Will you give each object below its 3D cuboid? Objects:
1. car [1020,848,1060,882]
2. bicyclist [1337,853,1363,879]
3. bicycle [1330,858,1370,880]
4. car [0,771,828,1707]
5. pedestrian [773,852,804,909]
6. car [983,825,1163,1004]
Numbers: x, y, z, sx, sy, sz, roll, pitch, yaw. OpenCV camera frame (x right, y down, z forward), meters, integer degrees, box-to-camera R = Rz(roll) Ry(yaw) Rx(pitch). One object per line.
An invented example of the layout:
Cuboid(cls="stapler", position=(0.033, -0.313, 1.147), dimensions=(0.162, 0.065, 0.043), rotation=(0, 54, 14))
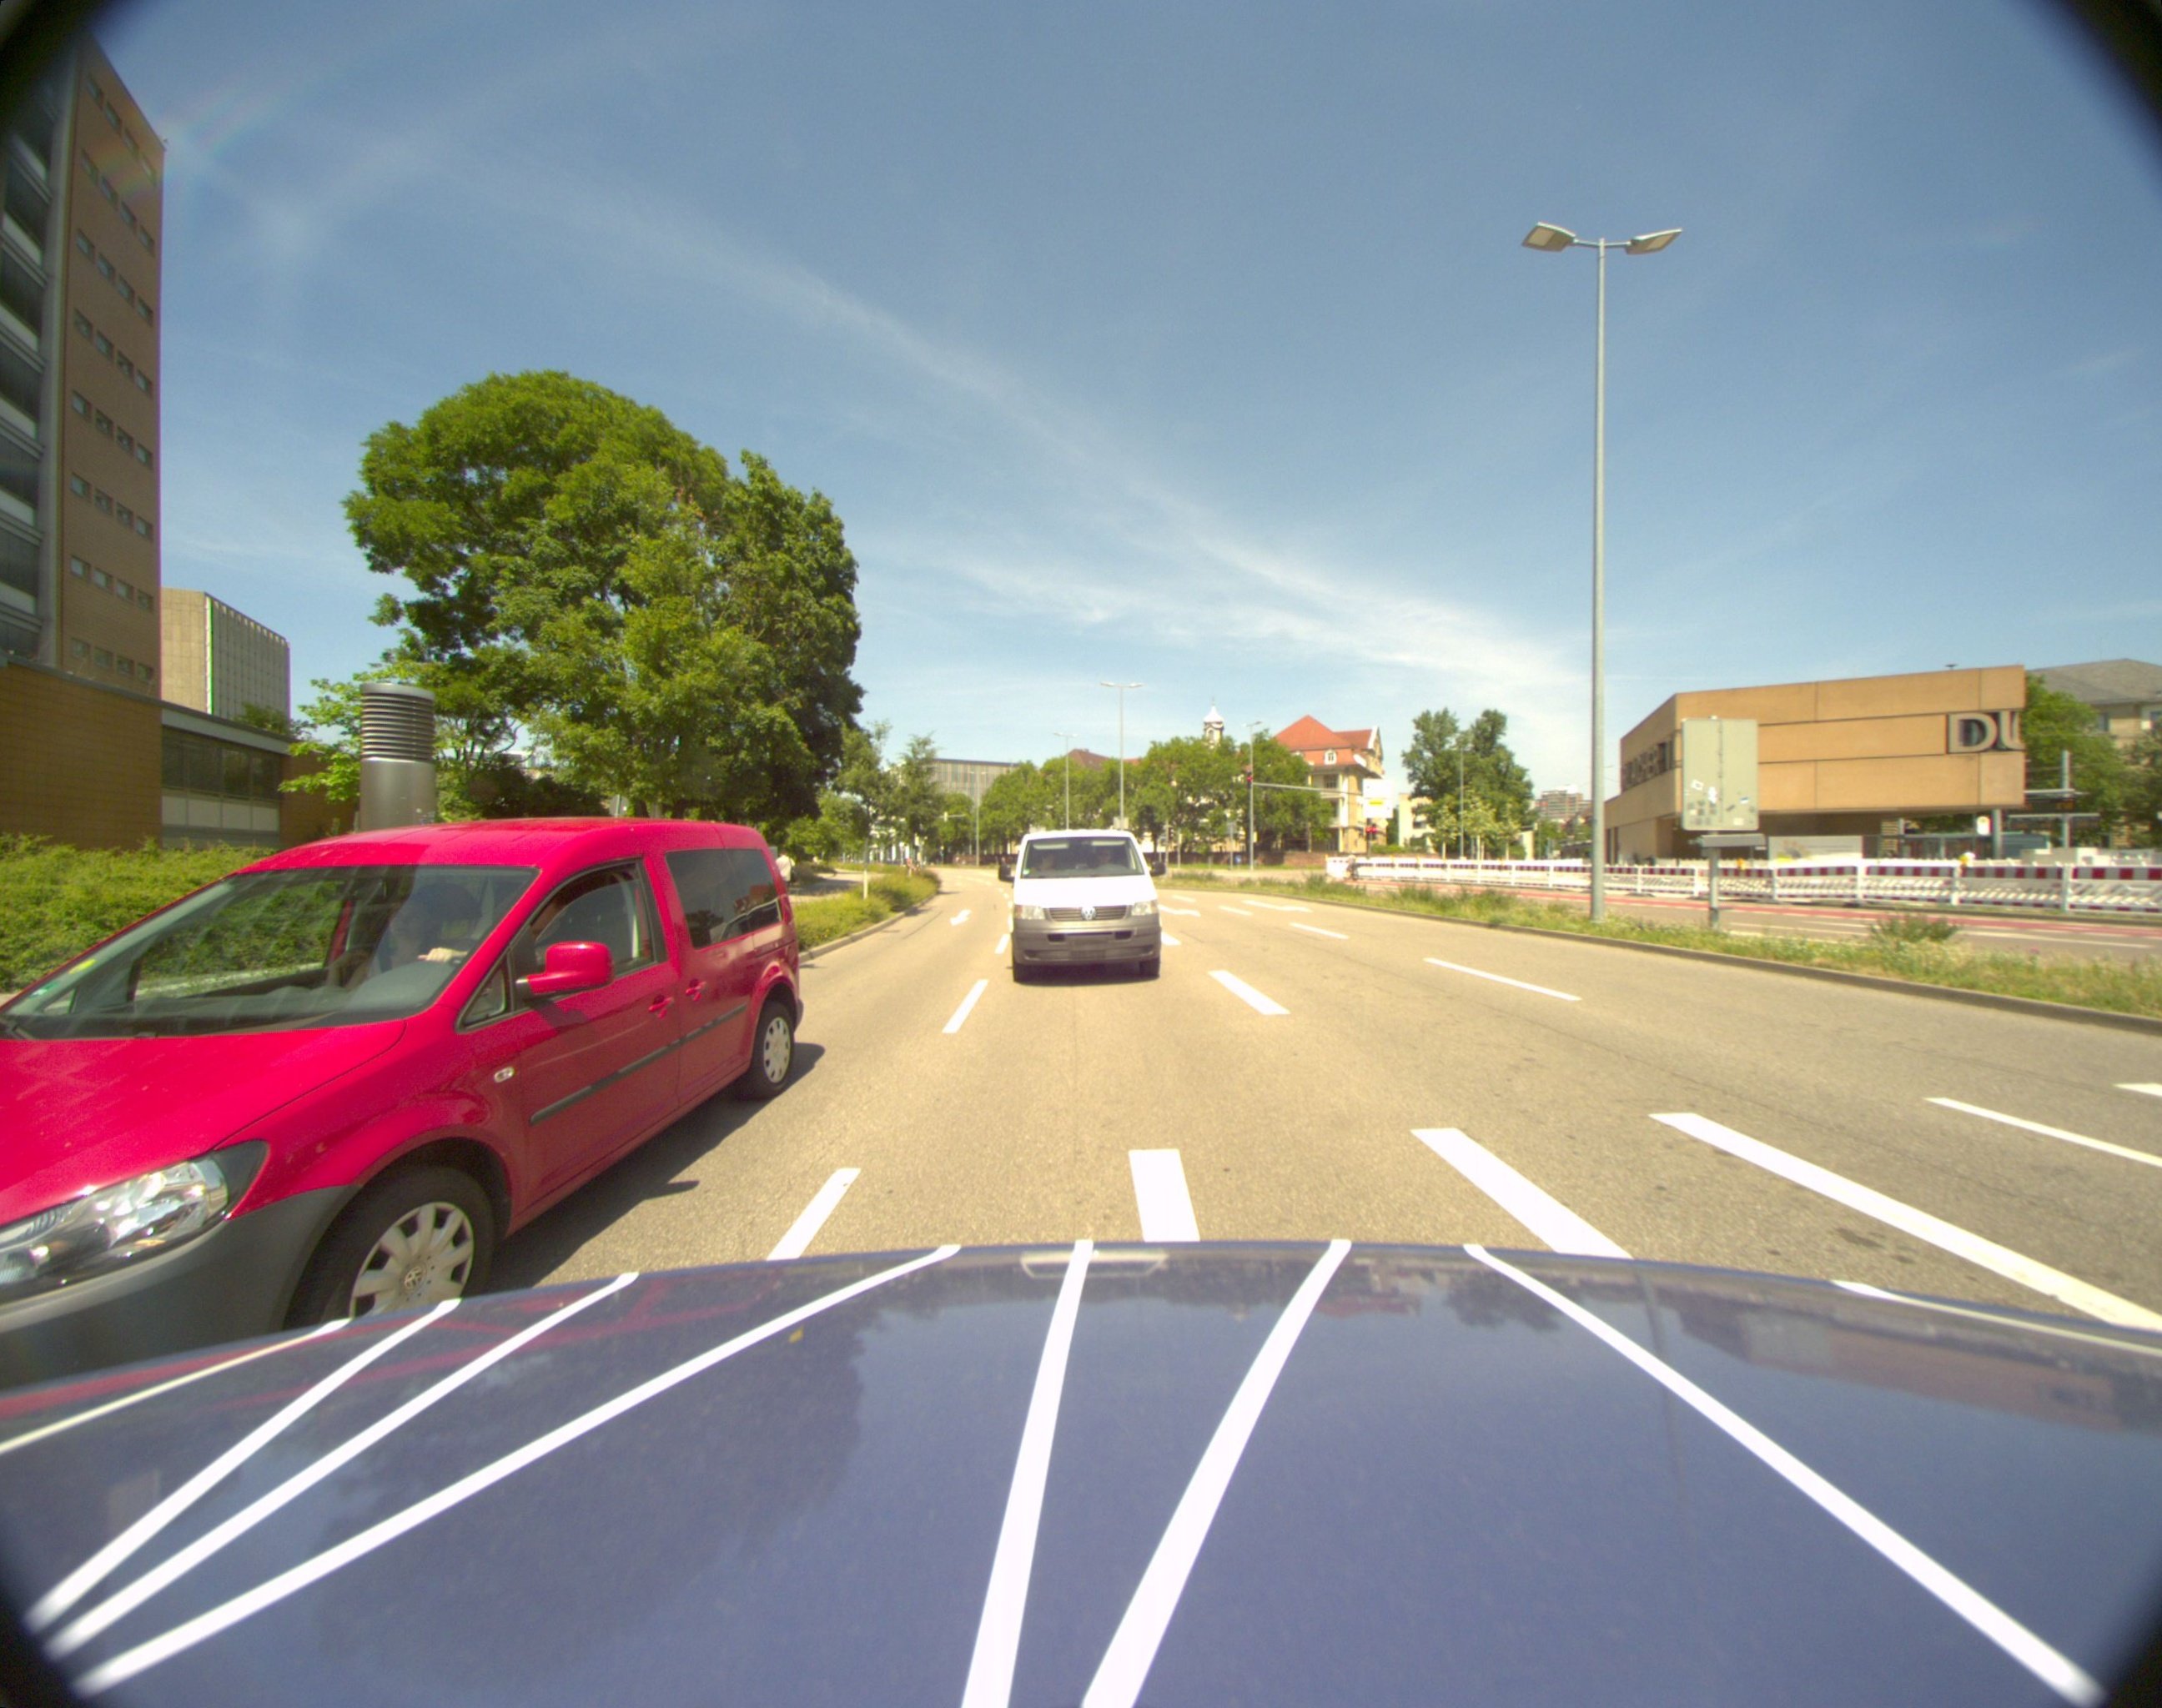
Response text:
Cuboid(cls="car", position=(-2.644, 0.639, 47.968), dimensions=(2.000, 2.002, 3.996), rotation=(-2, 1, -10))
Cuboid(cls="bicyclist", position=(14.354, 0.647, 40.555), dimensions=(0.587, 1.348, 1.438), rotation=(-3, 1, -14))
Cuboid(cls="bicycle", position=(14.264, 0.796, 40.343), dimensions=(0.879, 1.066, 2.229), rotation=(-2, 1, -14))
Cuboid(cls="car", position=(-2.837, 0.781, 3.525), dimensions=(1.655, 1.848, 4.546), rotation=(-1, 0, 2))
Cuboid(cls="pedestrian", position=(-9.260, 0.821, 24.081), dimensions=(0.728, 1.787, 0.614), rotation=(0, 1, 1))
Cuboid(cls="car", position=(-0.148, 0.679, 11.041), dimensions=(1.971, 1.958, 4.847), rotation=(-2, 0, -2))
